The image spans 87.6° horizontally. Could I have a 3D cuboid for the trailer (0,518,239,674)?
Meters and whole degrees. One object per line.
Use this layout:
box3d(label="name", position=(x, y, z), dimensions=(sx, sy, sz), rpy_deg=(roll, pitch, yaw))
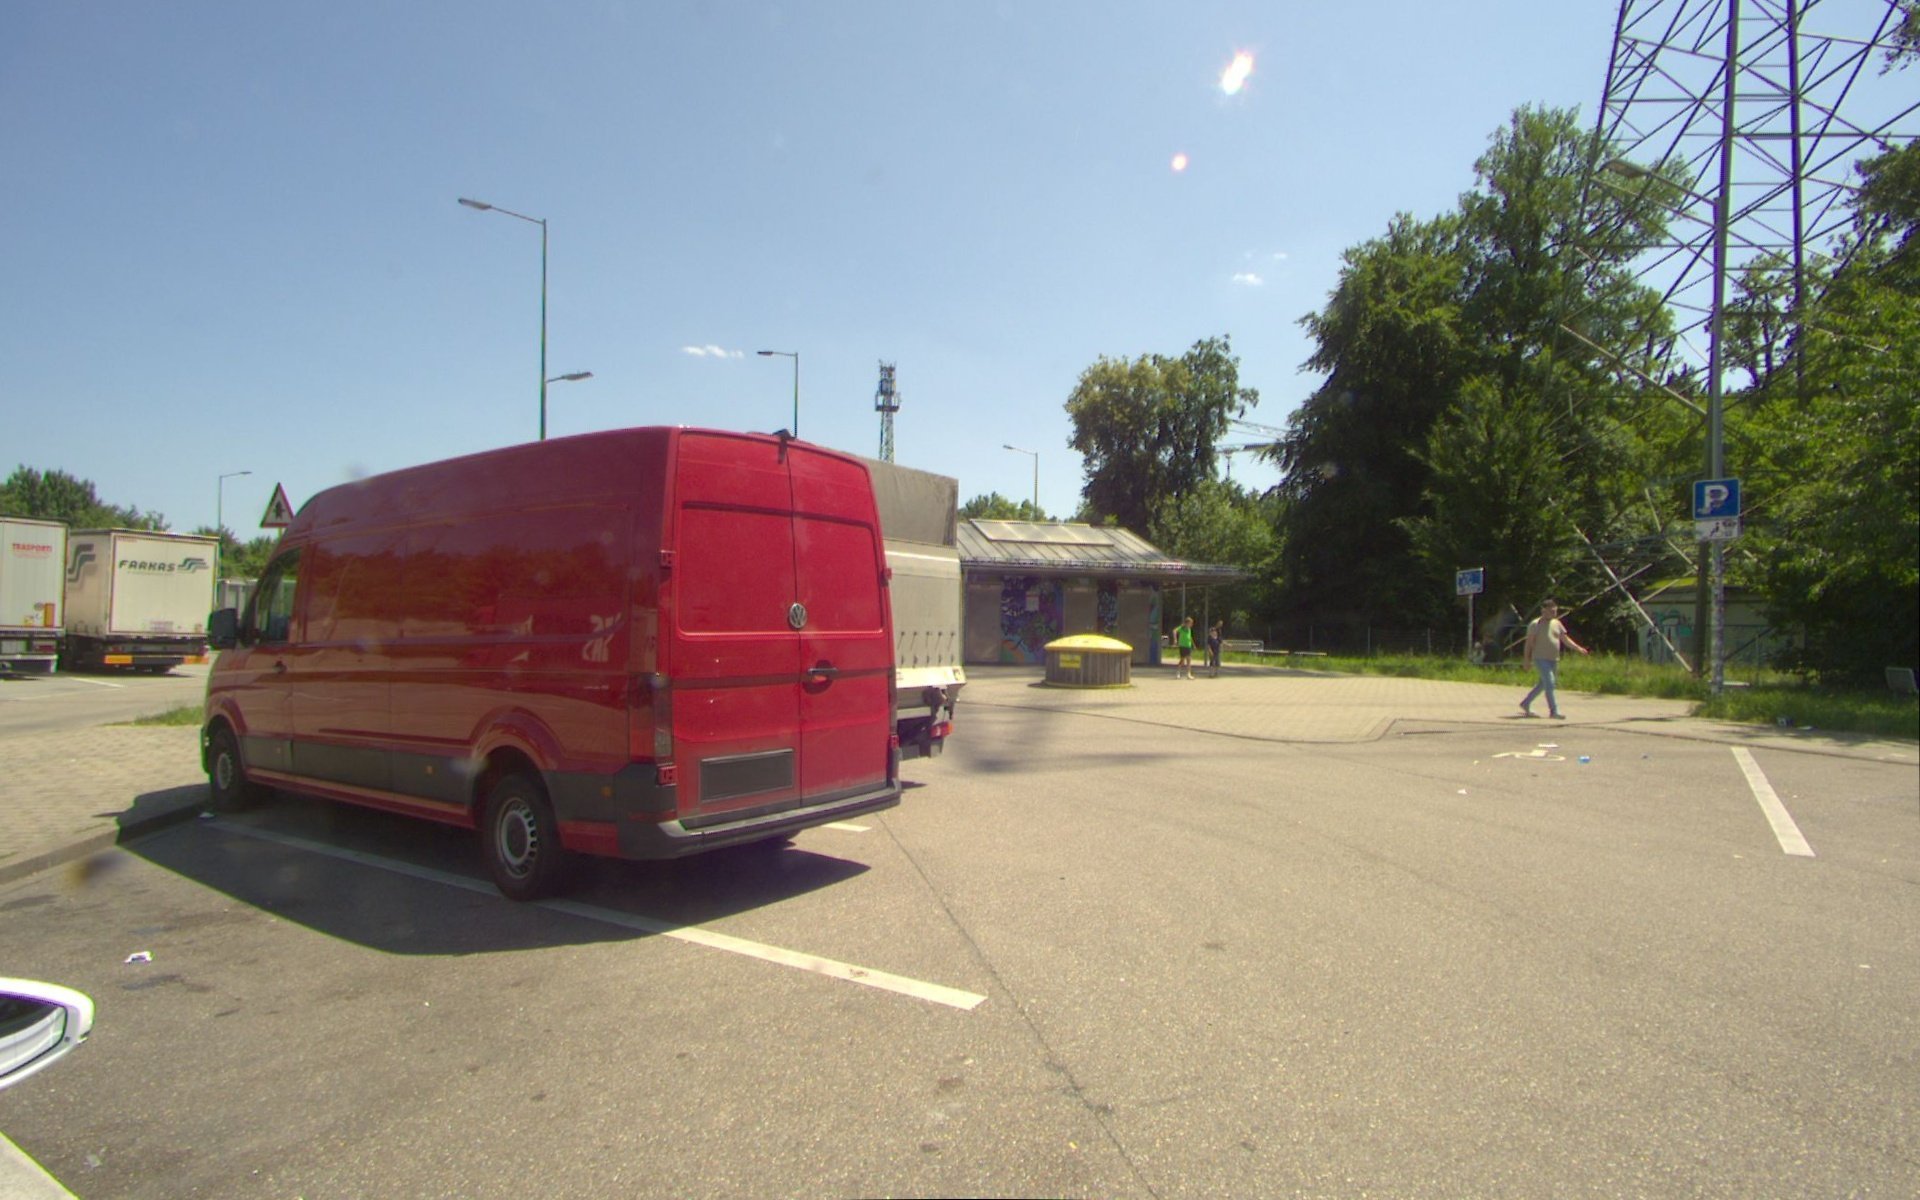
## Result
box3d(label="trailer", position=(-27.588, -0.169, 31.595), dimensions=(13.561, 4.162, 2.854), rpy_deg=(1, -2, 32))

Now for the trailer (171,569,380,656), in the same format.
box3d(label="trailer", position=(-32.451, 0.484, 47.084), dimensions=(13.561, 3.646, 2.854), rpy_deg=(1, -2, 32))

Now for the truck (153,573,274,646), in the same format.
box3d(label="truck", position=(-37.522, 0.475, 50.308), dimensions=(5.887, 3.406, 2.862), rpy_deg=(1, -2, 32))

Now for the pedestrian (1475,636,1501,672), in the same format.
box3d(label="pedestrian", position=(14.670, 1.488, 27.804), dimensions=(0.439, 0.987, 0.460), rpy_deg=(0, -1, -19))

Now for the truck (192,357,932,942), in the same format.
box3d(label="truck", position=(-3.310, 0.300, 7.324), dimensions=(6.372, 2.685, 2.005), rpy_deg=(-1, -2, 37))

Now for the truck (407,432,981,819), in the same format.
box3d(label="truck", position=(-3.059, 0.271, 10.508), dimensions=(6.372, 2.944, 2.411), rpy_deg=(-1, -2, 37))

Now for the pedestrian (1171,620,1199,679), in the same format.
box3d(label="pedestrian", position=(5.395, 1.191, 24.005), dimensions=(0.532, 1.392, 0.583), rpy_deg=(0, -1, 0))

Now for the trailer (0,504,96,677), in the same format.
box3d(label="trailer", position=(-28.661, -0.342, 28.007), dimensions=(13.561, 4.162, 2.854), rpy_deg=(1, -2, 32))

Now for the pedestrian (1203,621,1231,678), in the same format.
box3d(label="pedestrian", position=(6.322, 1.208, 24.639), dimensions=(0.532, 1.392, 0.583), rpy_deg=(0, -1, 0))

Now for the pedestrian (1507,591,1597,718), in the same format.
box3d(label="pedestrian", position=(9.328, 0.847, 15.806), dimensions=(0.799, 1.929, 0.920), rpy_deg=(0, -1, -15))

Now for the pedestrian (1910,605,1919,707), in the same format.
box3d(label="pedestrian", position=(16.112, 0.907, 16.309), dimensions=(0.677, 1.670, 0.712), rpy_deg=(0, -1, -26))

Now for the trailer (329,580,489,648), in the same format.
box3d(label="trailer", position=(-36.144, 0.845, 65.323), dimensions=(13.561, 3.955, 2.854), rpy_deg=(1, -2, 32))

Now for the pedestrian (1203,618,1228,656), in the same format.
box3d(label="pedestrian", position=(11.183, 1.637, 43.782), dimensions=(0.803, 1.639, 0.916), rpy_deg=(-1, -1, 33))
